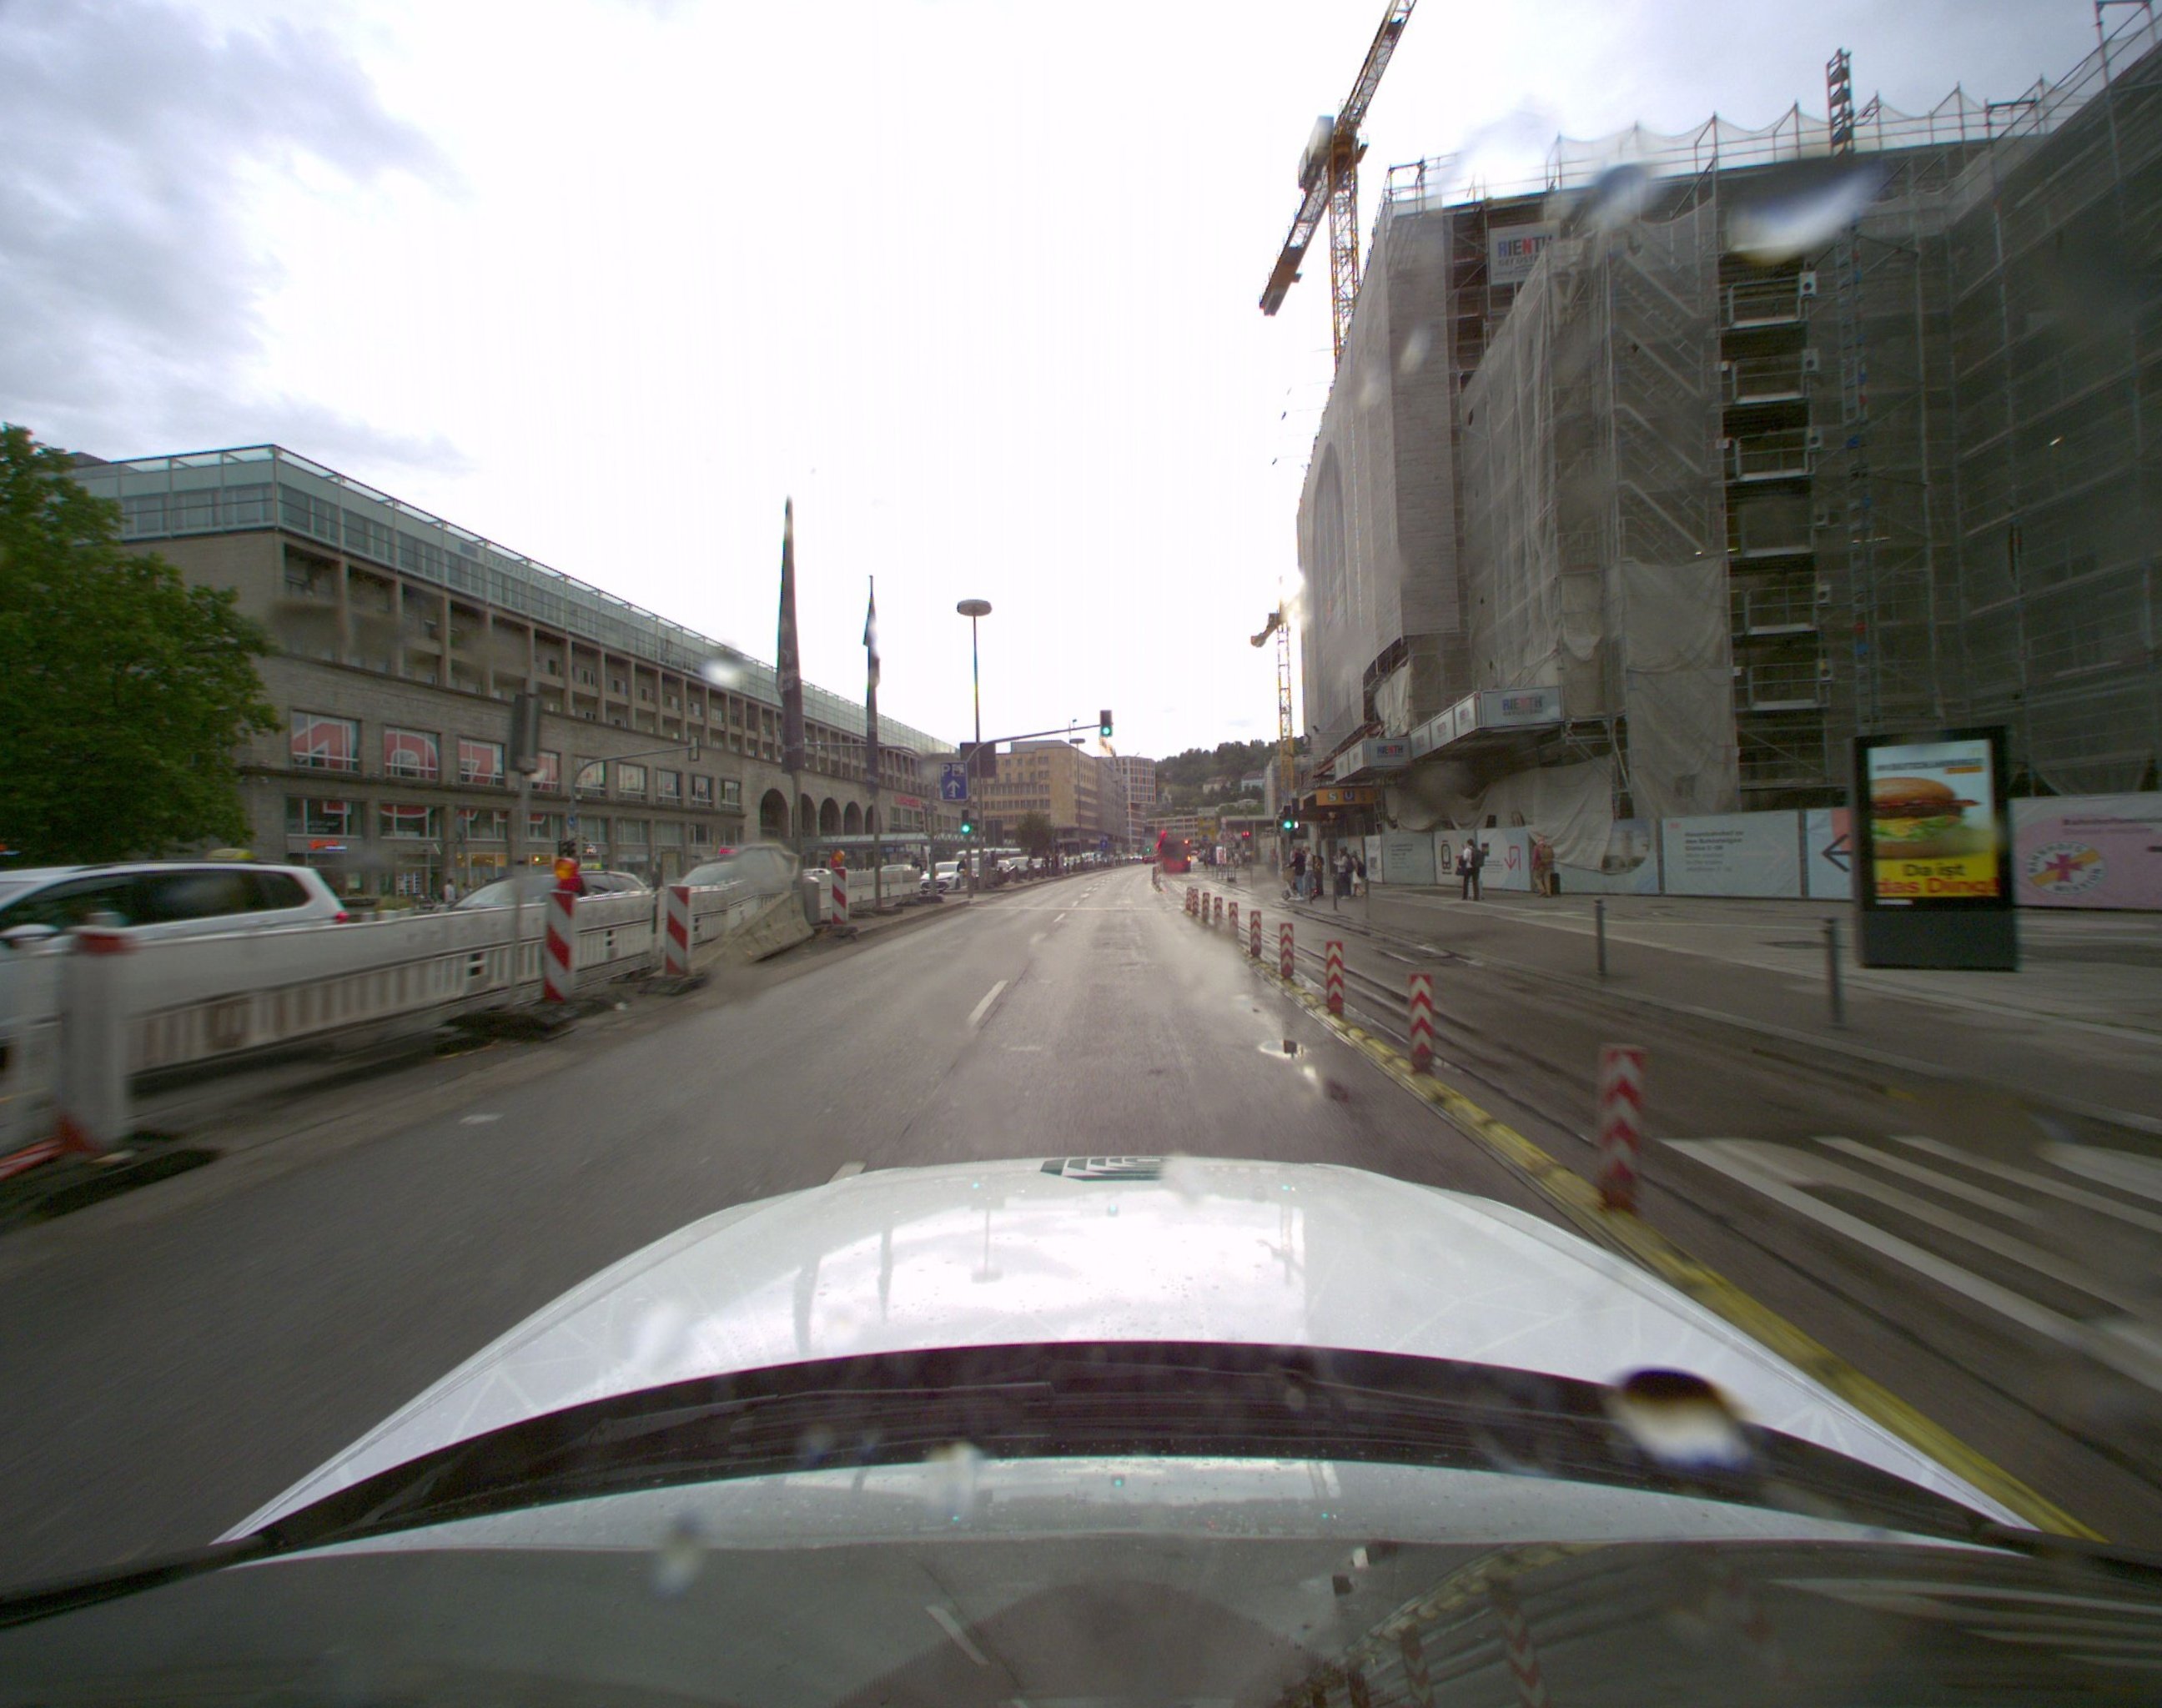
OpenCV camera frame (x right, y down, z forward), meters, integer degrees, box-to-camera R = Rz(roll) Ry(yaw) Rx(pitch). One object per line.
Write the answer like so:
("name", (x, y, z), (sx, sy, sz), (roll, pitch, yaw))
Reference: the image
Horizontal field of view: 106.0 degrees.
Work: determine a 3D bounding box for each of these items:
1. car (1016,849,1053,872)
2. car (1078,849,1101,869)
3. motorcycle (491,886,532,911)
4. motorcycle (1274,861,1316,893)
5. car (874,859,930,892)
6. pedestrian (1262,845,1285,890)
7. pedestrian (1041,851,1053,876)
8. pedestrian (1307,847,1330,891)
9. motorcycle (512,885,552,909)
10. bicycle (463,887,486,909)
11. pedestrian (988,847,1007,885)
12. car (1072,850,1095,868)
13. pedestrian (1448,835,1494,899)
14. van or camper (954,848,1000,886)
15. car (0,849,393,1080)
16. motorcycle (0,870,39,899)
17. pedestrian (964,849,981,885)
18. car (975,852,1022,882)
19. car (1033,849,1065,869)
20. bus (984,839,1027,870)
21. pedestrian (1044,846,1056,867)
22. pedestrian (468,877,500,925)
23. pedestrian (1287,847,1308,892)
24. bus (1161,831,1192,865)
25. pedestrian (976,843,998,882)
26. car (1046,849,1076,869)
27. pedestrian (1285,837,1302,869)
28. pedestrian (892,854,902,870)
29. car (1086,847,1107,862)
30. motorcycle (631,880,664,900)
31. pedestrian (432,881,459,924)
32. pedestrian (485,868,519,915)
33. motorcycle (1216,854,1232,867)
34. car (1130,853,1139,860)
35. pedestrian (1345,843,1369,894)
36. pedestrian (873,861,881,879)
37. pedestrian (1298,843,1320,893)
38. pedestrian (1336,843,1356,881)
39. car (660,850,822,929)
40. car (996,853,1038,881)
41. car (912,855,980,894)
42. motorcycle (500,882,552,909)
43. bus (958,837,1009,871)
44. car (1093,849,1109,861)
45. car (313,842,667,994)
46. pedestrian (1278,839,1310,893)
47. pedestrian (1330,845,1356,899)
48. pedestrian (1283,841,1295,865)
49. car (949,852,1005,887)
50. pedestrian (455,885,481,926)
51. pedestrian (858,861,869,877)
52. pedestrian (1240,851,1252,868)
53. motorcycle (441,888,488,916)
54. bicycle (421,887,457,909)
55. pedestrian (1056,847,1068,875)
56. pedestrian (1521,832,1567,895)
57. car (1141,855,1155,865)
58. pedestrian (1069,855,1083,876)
("car", (-3.527, 0.490, 63.141), (1.920, 1.576, 5.270), (-4, 0, 6))
("car", (1.059, 0.559, 98.367), (1.982, 2.178, 5.557), (-2, 0, 8))
("motorcycle", (-27.563, 2.144, 39.420), (0.577, 1.057, 1.630), (0, 1, 14))
("motorcycle", (7.104, 0.756, 27.094), (0.589, 1.021, 1.226), (-2, 0, -36))
("car", (-9.667, 1.110, 44.258), (1.805, 1.610, 4.049), (-1, 1, 4))
("pedestrian", (7.711, 0.536, 32.607), (0.557, 1.759, 0.750), (-5, 0, -7))
("pedestrian", (-2.460, 0.663, 58.496), (0.695, 1.754, 0.713), (-2, 0, 7))
("pedestrian", (8.184, 0.499, 28.112), (0.555, 1.449, 0.713), (-5, 0, 8))
("motorcycle", (-26.596, 2.089, 39.481), (0.577, 1.057, 1.630), (0, 1, 14))
("bicycle", (-31.621, 2.287, 42.433), (1.598, 1.057, 0.447), (0, 1, 35))
("pedestrian", (-4.089, 0.563, 39.751), (0.780, 1.775, 0.605), (-5, 0, -5))
("car", (0.279, 0.538, 92.476), (1.919, 1.806, 4.593), (-4, 0, 8))
("pedestrian", (10.697, 0.347, 22.373), (0.732, 1.677, 0.959), (-5, 0, 6))
("van or camper", (-7.549, 0.885, 59.662), (1.984, 2.514, 5.378), (-5, 0, 5))
("car", (-9.156, 0.892, 7.338), (1.775, 1.722, 4.489), (-3, 1, 4))
("motorcycle", (-41.258, 1.174, 31.126), (0.528, 1.047, 1.719), (-2, 0, 4))
("pedestrian", (-5.191, 0.616, 39.051), (0.648, 1.711, 0.594), (-1, 1, 5))
("car", (-5.090, 0.758, 50.892), (1.920, 1.690, 4.691), (-4, 0, 6))
("car", (-2.692, 0.418, 69.620), (1.920, 1.576, 5.021), (-4, 0, 6))
("bus", (-9.079, -0.012, 99.555), (2.861, 3.459, 10.597), (-2, 0, 7))
("pedestrian", (-2.345, 0.180, 62.190), (0.719, 1.606, 0.998), (-1, 1, 6))
("pedestrian", (-21.957, 1.737, 29.965), (0.595, 1.685, 0.659), (3, 1, 4))
("pedestrian", (8.219, 0.564, 30.938), (0.555, 1.640, 0.754), (-5, 0, 8))
("bus", (9.403, -0.571, 79.412), (2.740, 3.068, 9.099), (-1, 0, 8))
("pedestrian", (-4.413, 0.386, 38.235), (0.552, 1.775, 0.757), (-5, 0, 40))
("car", (-1.809, 0.435, 75.723), (1.966, 1.659, 5.202), (-4, 0, 6))
("pedestrian", (12.539, -0.051, 48.021), (0.719, 1.847, 0.812), (-5, 0, 7))
("pedestrian", (-16.560, 0.733, 73.378), (0.708, 1.393, 0.698), (-1, 1, -23))
("car", (1.970, 0.052, 103.669), (1.982, 1.722, 4.794), (-2, 0, 9))
("motorcycle", (-23.272, 1.934, 43.749), (1.435, 1.057, 0.602), (-1, 1, -4))
("pedestrian", (-25.166, 1.906, 32.260), (0.528, 1.641, 0.607), (-5, 0, -13))
("pedestrian", (-21.887, 1.408, 30.803), (0.746, 1.685, 0.560), (-5, 0, 4))
("motorcycle", (12.900, 0.600, 73.430), (1.626, 1.166, 0.579), (-1, 0, -44))
("car", (14.654, 0.647, 223.752), (1.951, 1.564, 4.846), (-4, 1, 7))
("pedestrian", (9.168, 0.479, 27.033), (0.560, 1.650, 0.616), (-5, 0, 11))
("pedestrian", (-17.597, 1.357, 70.214), (0.586, 1.507, 0.621), (-1, 1, -23))
("pedestrian", (8.239, 0.502, 29.406), (0.555, 1.751, 0.713), (-5, 0, 8))
("pedestrian", (11.819, 0.353, 36.366), (0.546, 1.632, 0.997), (-5, 0, 7))
("car", (-8.348, 0.799, 20.516), (1.894, 1.699, 4.506), (-1, 1, 4))
("car", (-4.367, 0.868, 56.263), (1.920, 1.690, 4.691), (-4, 0, 6))
("car", (-6.347, 0.925, 38.926), (2.005, 1.621, 4.849), (-2, 1, 5))
("motorcycle", (-27.220, 2.034, 39.991), (1.951, 1.227, 0.693), (-1, 1, -13))
("bus", (-10.463, -0.034, 89.033), (2.861, 3.376, 10.597), (-2, 0, 7))
("car", (2.933, 0.099, 116.567), (1.984, 1.552, 4.006), (-2, 0, 5))
("car", (-8.647, 0.791, 12.583), (1.894, 1.898, 4.529), (-1, 1, 4))
("pedestrian", (7.083, 0.399, 27.105), (0.584, 1.740, 0.813), (-2, 0, -36))
("pedestrian", (8.398, 0.574, 26.103), (0.555, 1.650, 0.616), (-5, 0, 8))
("pedestrian", (14.203, -0.082, 55.642), (0.647, 1.539, 0.667), (-5, 0, 8))
("car", (-5.703, 0.825, 45.140), (1.920, 1.690, 4.691), (-4, 0, 6))
("pedestrian", (-24.705, 2.077, 32.839), (0.474, 1.572, 0.749), (-5, 0, -12))
("pedestrian", (-20.026, 1.354, 74.984), (0.927, 1.393, 0.698), (-1, 1, -23))
("pedestrian", (16.462, 0.526, 81.103), (0.897, 1.635, 0.833), (-2, 0, 34))
("motorcycle", (-28.160, 2.170, 37.213), (0.576, 1.133, 1.634), (0, 1, 39))
("bicycle", (-32.303, 2.197, 40.953), (1.600, 1.057, 0.709), (0, 1, 22))
("pedestrian", (-1.330, 0.483, 58.383), (0.719, 2.007, 0.774), (-1, 0, 7))
("pedestrian", (12.772, 0.248, 22.483), (0.728, 1.682, 1.112), (-2, 0, 9))
("car", (11.485, 0.993, 139.992), (1.982, 1.552, 4.010), (-2, 0, 9))
("pedestrian", (-0.423, 0.969, 69.224), (1.045, 1.768, 0.617), (-2, 0, 6))
